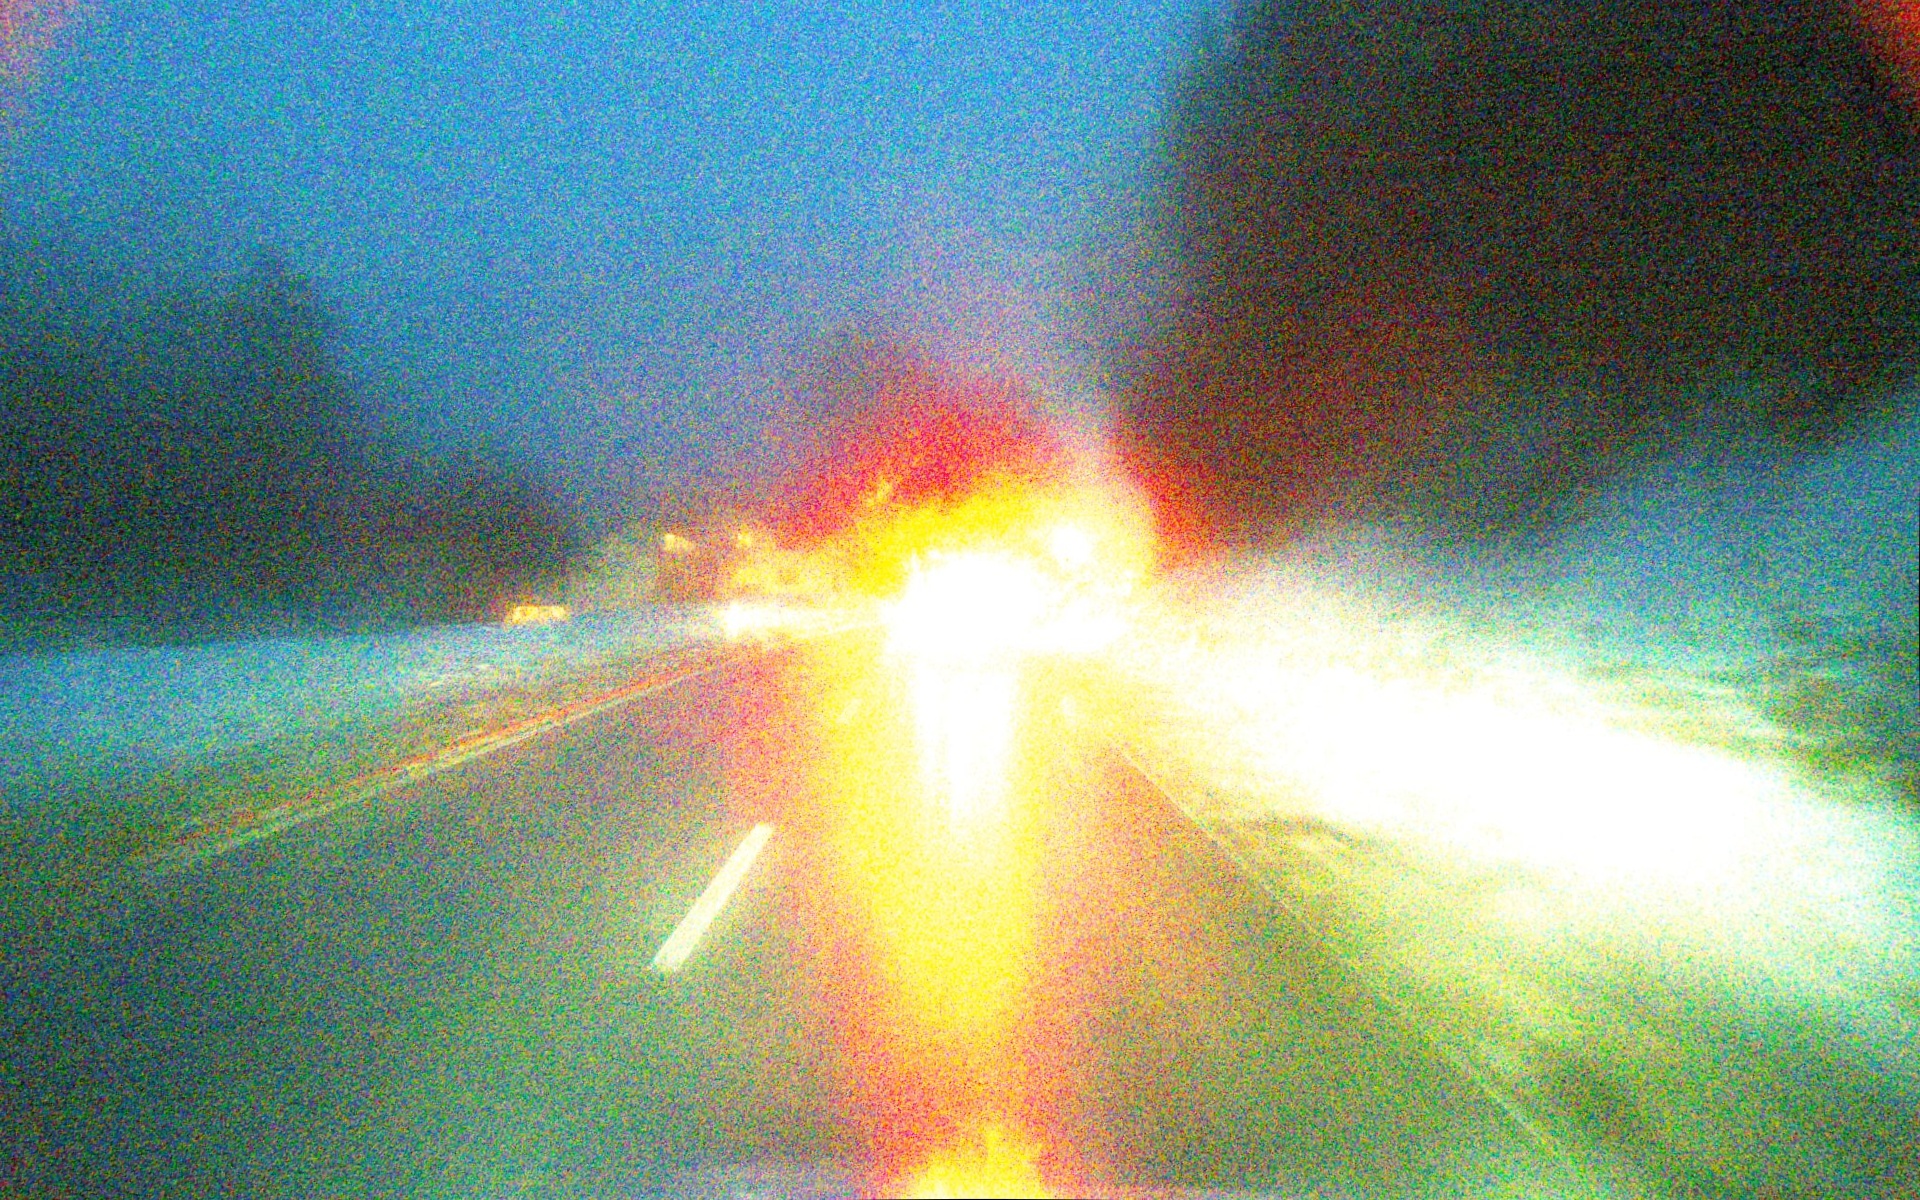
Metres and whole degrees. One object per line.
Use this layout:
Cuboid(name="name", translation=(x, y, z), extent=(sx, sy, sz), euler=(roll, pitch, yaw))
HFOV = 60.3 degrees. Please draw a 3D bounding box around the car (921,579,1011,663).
Cuboid(name="car", translation=(0.133, 0.394, 34.342), extent=(1.764, 1.657, 3.615), euler=(0, 0, 0))
